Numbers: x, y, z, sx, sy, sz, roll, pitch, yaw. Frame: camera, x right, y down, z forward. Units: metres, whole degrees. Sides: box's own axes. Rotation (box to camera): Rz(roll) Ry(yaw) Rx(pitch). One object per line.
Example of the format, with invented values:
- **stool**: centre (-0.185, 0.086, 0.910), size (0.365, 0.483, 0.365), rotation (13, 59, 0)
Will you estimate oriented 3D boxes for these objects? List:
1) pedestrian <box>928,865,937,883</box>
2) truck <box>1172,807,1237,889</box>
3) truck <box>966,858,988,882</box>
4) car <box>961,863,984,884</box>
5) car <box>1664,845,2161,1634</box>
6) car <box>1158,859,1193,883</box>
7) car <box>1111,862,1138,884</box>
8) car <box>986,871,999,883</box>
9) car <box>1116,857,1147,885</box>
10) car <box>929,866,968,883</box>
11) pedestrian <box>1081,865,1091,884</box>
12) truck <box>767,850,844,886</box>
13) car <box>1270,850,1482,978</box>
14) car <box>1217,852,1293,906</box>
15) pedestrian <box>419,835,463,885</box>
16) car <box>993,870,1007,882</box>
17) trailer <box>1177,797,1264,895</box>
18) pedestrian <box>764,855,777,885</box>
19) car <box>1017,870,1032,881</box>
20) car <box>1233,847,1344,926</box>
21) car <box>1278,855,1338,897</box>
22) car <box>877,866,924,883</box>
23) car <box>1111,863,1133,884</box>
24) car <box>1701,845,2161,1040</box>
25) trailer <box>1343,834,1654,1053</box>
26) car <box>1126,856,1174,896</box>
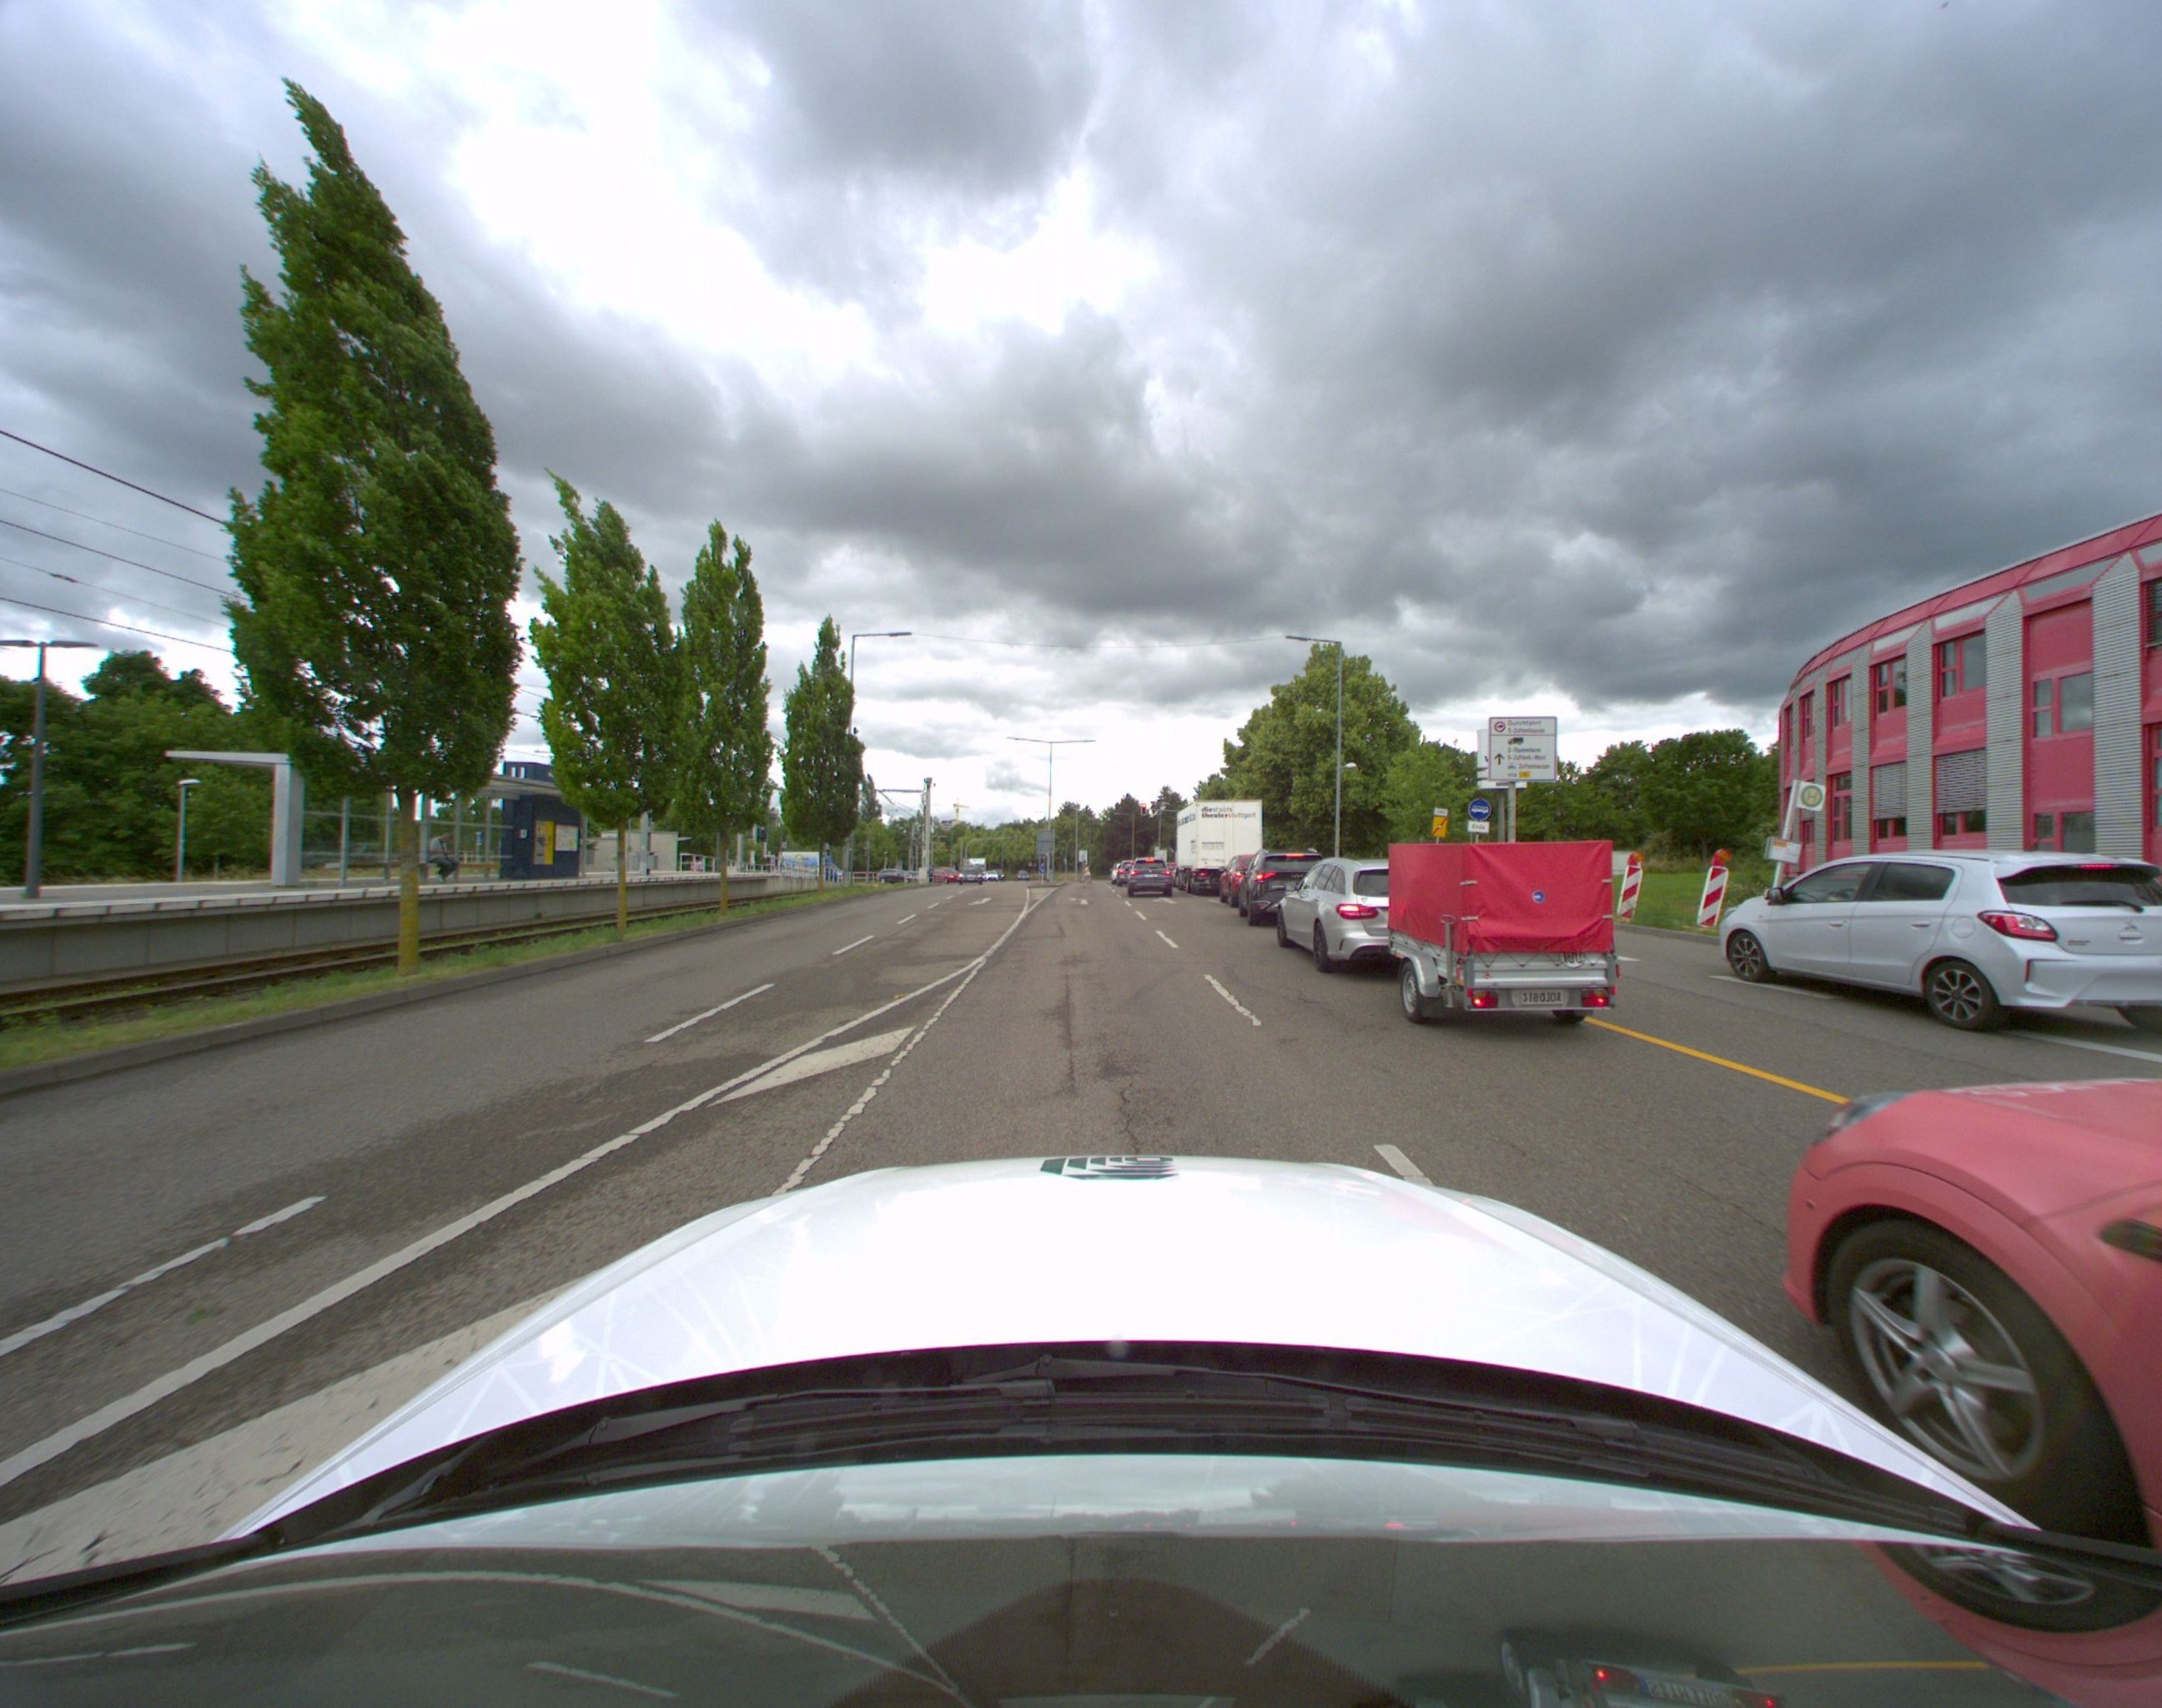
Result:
- **pedestrian**: centre (-12.687, 1.719, 69.656), size (0.349, 1.556, 0.657), rotation (0, 1, 34)
- **truck**: centre (5.867, -0.236, 39.176), size (2.561, 3.706, 4.107), rotation (-1, -1, 1)
- **truck**: centre (-16.441, 2.442, 128.375), size (2.661, 3.649, 9.465), rotation (-1, 0, -11)
- **car**: centre (-8.496, 1.522, 63.543), size (1.725, 1.574, 3.695), rotation (-1, -1, -9)
- **car**: centre (2.851, 0.702, 0.926), size (1.713, 1.457, 3.695), rotation (-1, 0, -1)
- **car**: centre (5.991, 1.034, 51.917), size (1.818, 1.435, 4.214), rotation (-1, 0, 1)
- **car**: centre (3.042, 1.327, 57.207), size (1.715, 1.422, 4.356), rotation (-1, -1, 1)
- **car**: centre (-12.691, 3.272, 116.603), size (1.773, 1.508, 3.738), rotation (-1, 0, -7)
- **car**: centre (2.961, 0.991, 48.312), size (1.792, 1.523, 4.190), rotation (-1, 0, 2)
- **car**: centre (-12.397, 1.910, 76.124), size (1.717, 1.488, 4.038), rotation (-1, 0, -41)
- **pedestrian**: centre (0.429, 1.742, 68.621), size (0.861, 1.560, 0.518), rotation (-1, 1, -2)
- **truck**: centre (-29.327, 1.479, 86.841), size (7.215, 3.598, 2.692), rotation (-1, 1, 0)
- **car**: centre (3.869, 0.695, 11.525), size (1.664, 1.447, 4.494), rotation (-1, 0, 4)
- **car**: centre (5.286, 0.731, 25.207), size (1.700, 1.524, 4.323), rotation (-1, -1, 4)
- **pedestrian**: centre (-16.834, 0.151, 21.441), size (0.609, 1.269, 0.659), rotation (-1, 2, -5)
- **car**: centre (-12.731, 3.375, 127.670), size (1.915, 1.728, 3.988), rotation (-1, 0, -8)
- **trailer**: centre (5.776, -0.282, 34.978), size (2.556, 3.705, 7.766), rotation (-1, -1, 1)
- **pedestrian**: centre (-19.522, 1.010, 51.239), size (0.571, 1.828, 0.792), rotation (0, -2, -3)
- **car**: centre (-8.459, 3.225, 121.379), size (1.914, 1.576, 3.990), rotation (-1, 0, -7)
- **car**: centre (4.580, 0.667, 18.574), size (1.835, 1.561, 4.412), rotation (-1, 0, 6)
- **car**: centre (9.263, 0.861, 33.411), size (1.565, 1.571, 3.059), rotation (1, 0, 0)
- **car**: centre (-17.689, 1.965, 79.756), size (3.963, 1.596, 2.005), rotation (-1, 0, 9)
- **car**: centre (3.111, 1.507, 62.348), size (1.530, 1.504, 2.670), rotation (-1, -2, 0)
- **car**: centre (8.119, 0.659, 7.938), size (1.615, 1.457, 3.695), rotation (-1, 0, 6)
- **trailer**: centre (3.584, 0.659, 7.625), size (1.403, 1.594, 3.307), rotation (-1, 0, 4)
- **car**: centre (2.725, 0.878, 32.829), size (1.692, 1.486, 4.001), rotation (-1, -1, 2)
